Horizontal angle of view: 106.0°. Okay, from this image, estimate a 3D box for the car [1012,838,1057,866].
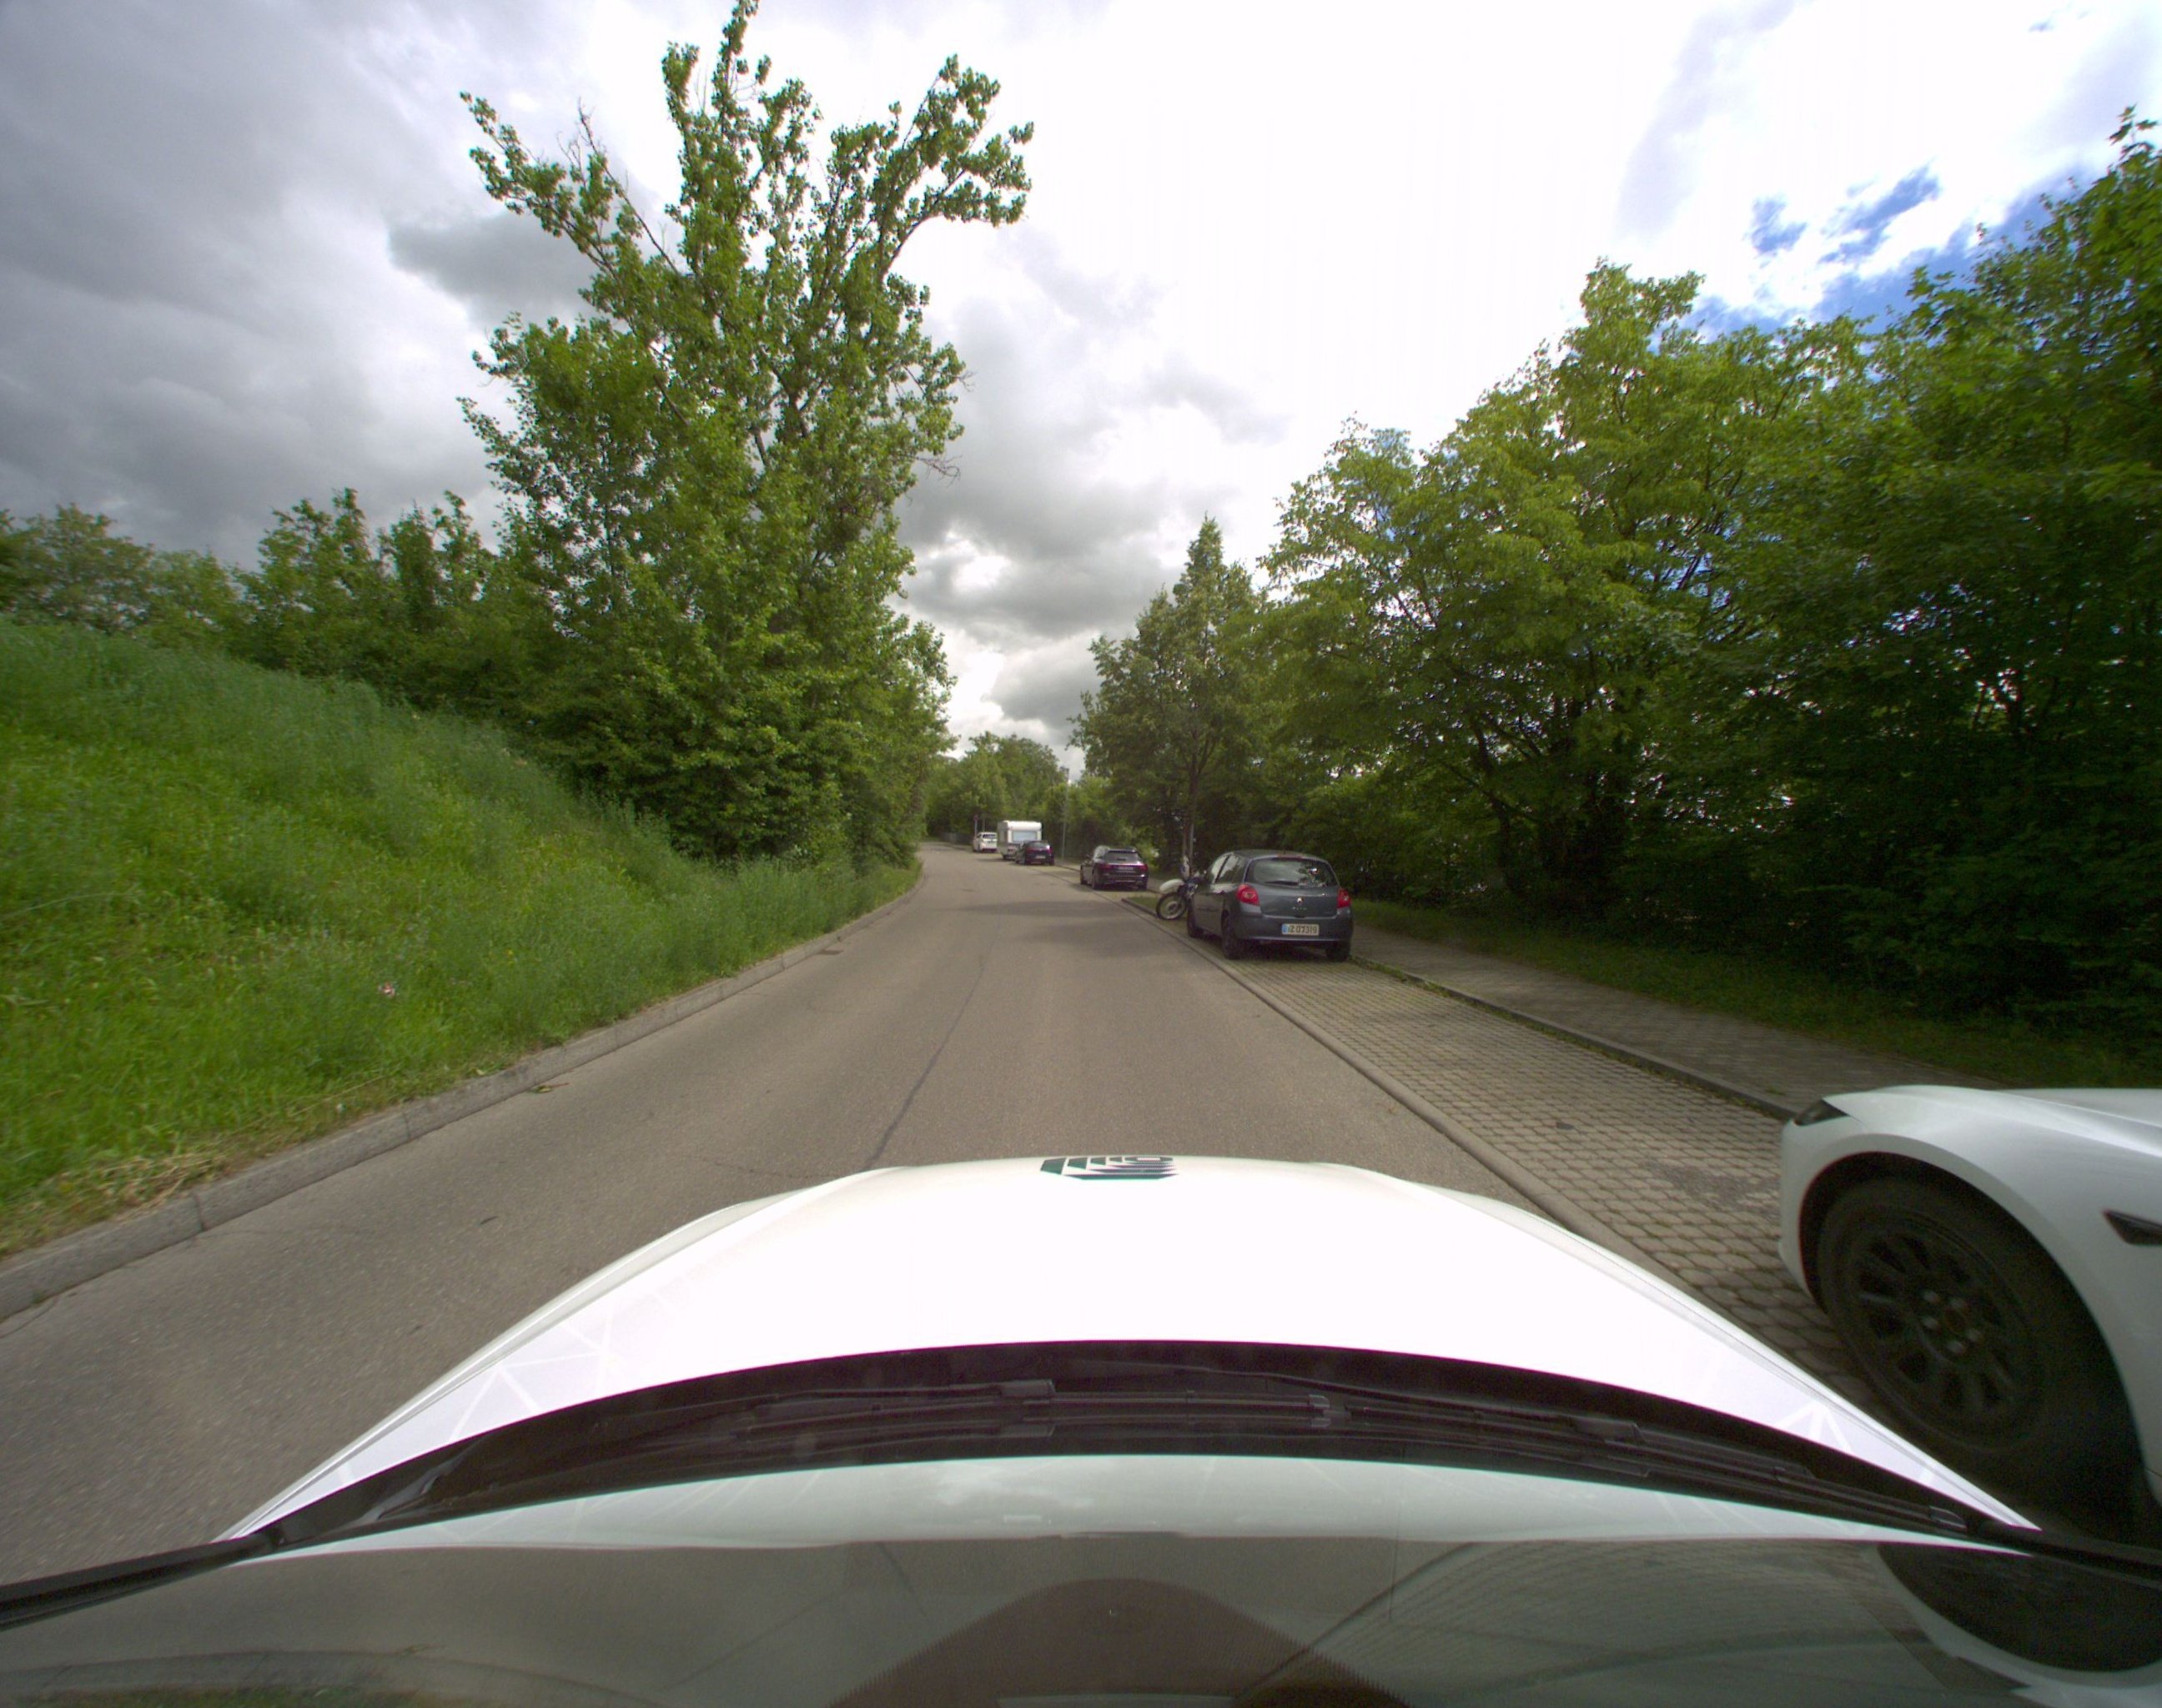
[{"bbox_3d":[-2.740,-0.148,47.189,1.685,1.450,4.458,2,1,-15],"label":"car"}]

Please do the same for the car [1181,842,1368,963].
[{"bbox_3d":[2.727,0.622,12.462,1.765,1.517,4.104,1,0,-2],"label":"car"}]

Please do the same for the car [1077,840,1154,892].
[{"bbox_3d":[1.091,0.341,28.170,1.891,1.529,4.535,2,2,-7],"label":"car"}]

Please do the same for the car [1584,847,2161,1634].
[{"bbox_3d":[2.964,0.732,0.845,1.857,1.477,4.901,0,0,0],"label":"car"}]

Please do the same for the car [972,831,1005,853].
[{"bbox_3d":[-7.436,-1.005,65.092,1.809,1.599,4.348,0,2,-17],"label":"car"}]

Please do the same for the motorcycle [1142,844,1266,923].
[{"bbox_3d":[2.453,0.555,16.203,2.285,1.476,0.980,0,0,21],"label":"motorcycle"}]

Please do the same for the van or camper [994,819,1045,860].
[{"bbox_3d":[-4.054,-0.959,52.862,2.359,2.553,5.049,0,1,-15],"label":"van or camper"}]
